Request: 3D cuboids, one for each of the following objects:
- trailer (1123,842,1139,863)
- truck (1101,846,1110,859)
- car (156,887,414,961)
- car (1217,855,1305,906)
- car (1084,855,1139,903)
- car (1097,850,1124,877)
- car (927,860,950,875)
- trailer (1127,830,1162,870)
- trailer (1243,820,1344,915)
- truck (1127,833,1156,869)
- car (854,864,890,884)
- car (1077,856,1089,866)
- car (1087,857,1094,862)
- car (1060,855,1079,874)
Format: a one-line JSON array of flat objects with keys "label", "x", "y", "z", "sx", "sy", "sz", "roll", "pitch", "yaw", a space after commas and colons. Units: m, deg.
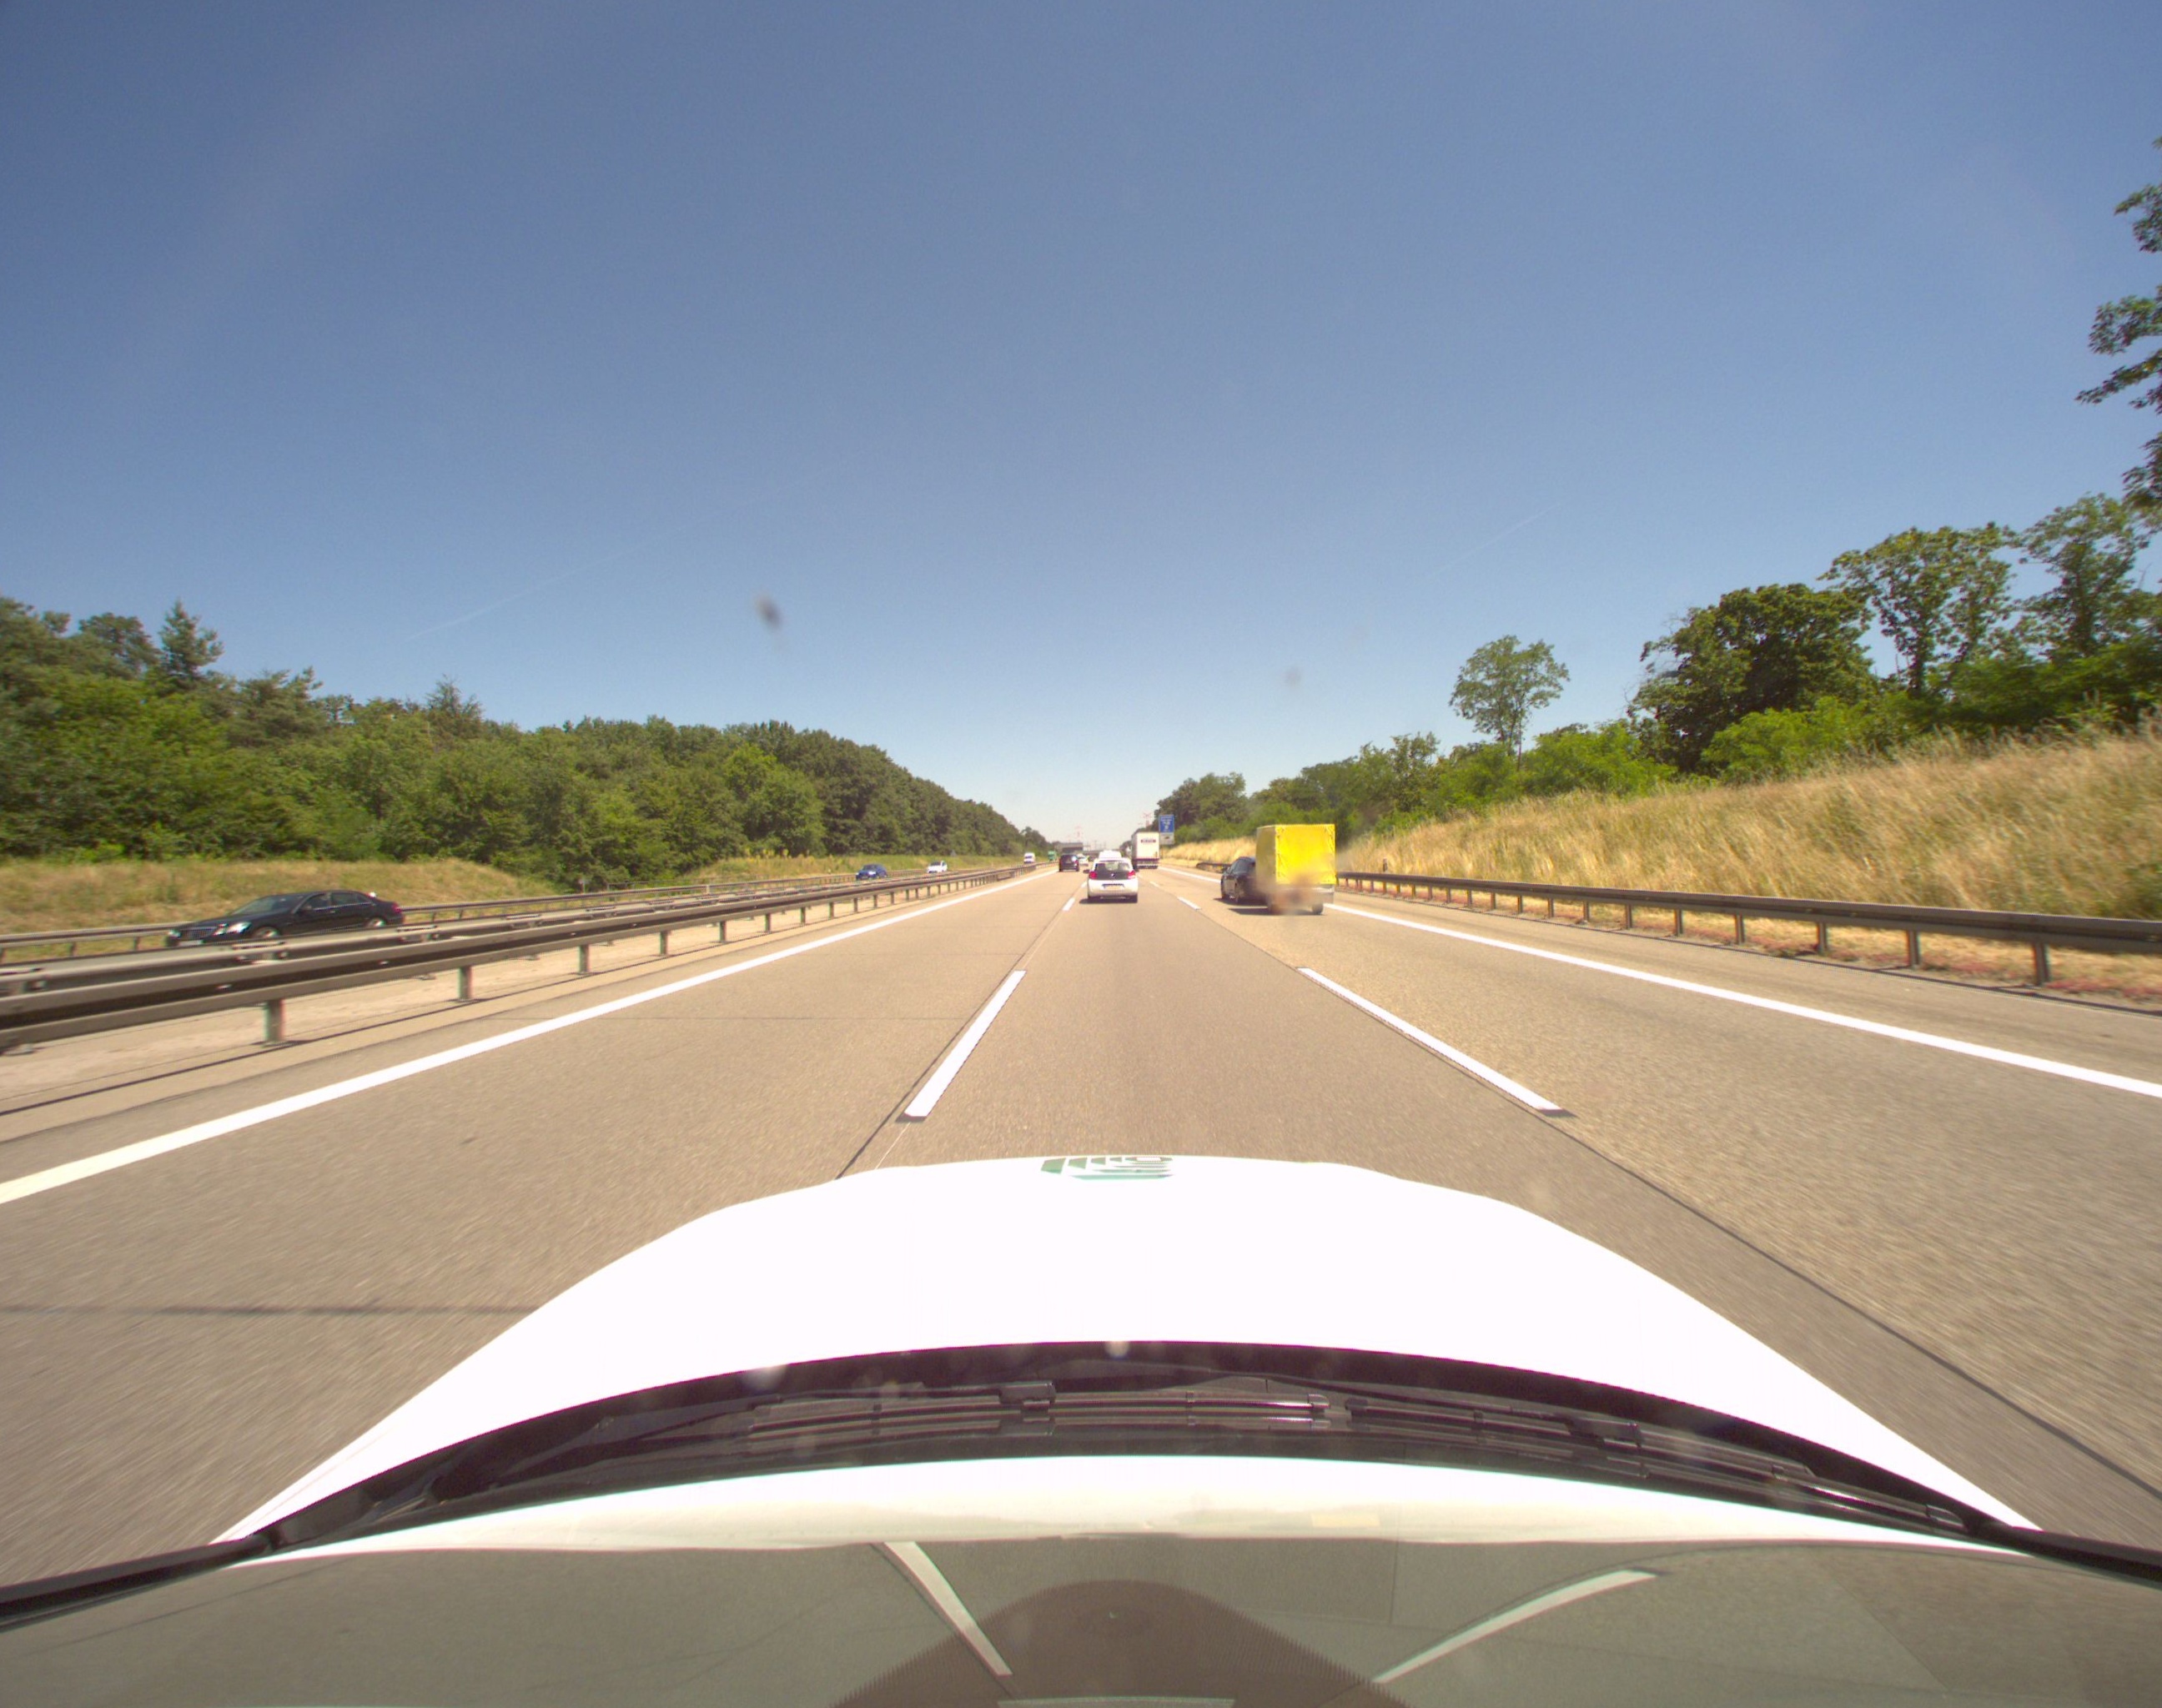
[{"label": "trailer", "x": 9.566, "y": -0.213, "z": 156.497, "sx": 2.673, "sy": 3.837, "sz": 12.012, "roll": 0, "pitch": 0, "yaw": 1}, {"label": "truck", "x": 5.330, "y": -0.296, "z": 177.991, "sx": 2.053, "sy": 2.914, "sz": 7.004, "roll": -1, "pitch": 0, "yaw": 1}, {"label": "car", "x": -20.173, "y": 1.688, "z": 21.024, "sx": 1.669, "sy": 1.365, "sz": 4.891, "roll": -4, "pitch": 0, "yaw": 2}, {"label": "car", "x": 5.612, "y": 0.766, "z": 25.996, "sx": 1.815, "sy": 1.456, "sz": 4.788, "roll": 0, "pitch": 0, "yaw": 1}, {"label": "car", "x": 1.012, "y": 0.783, "z": 27.347, "sx": 1.702, "sy": 1.495, "sz": 4.025, "roll": -1, "pitch": 0, "yaw": 2}, {"label": "car", "x": 2.045, "y": 0.668, "z": 58.105, "sx": 1.808, "sy": 1.827, "sz": 5.111, "roll": -1, "pitch": 0, "yaw": 1}, {"label": "car", "x": -17.511, "y": 1.630, "z": 100.220, "sx": 1.696, "sy": 1.661, "sz": 5.118, "roll": -4, "pitch": 0, "yaw": 2}, {"label": "trailer", "x": 7.203, "y": -0.353, "z": 93.774, "sx": 3.274, "sy": 4.219, "sz": 13.568, "roll": 0, "pitch": 0, "yaw": 1}, {"label": "trailer", "x": 5.549, "y": 0.326, "z": 21.724, "sx": 1.697, "sy": 2.289, "sz": 3.840, "roll": 0, "pitch": 0, "yaw": 1}, {"label": "truck", "x": 7.360, "y": -0.339, "z": 100.546, "sx": 3.274, "sy": 4.219, "sz": 6.009, "roll": 0, "pitch": -1, "yaw": 1}, {"label": "car", "x": -18.147, "y": 1.726, "z": 70.838, "sx": 1.696, "sy": 1.545, "sz": 4.537, "roll": -4, "pitch": 0, "yaw": 1}, {"label": "car", "x": 0.343, "y": 0.966, "z": 118.057, "sx": 1.663, "sy": 1.401, "sz": 3.713, "roll": -2, "pitch": 0, "yaw": 0}, {"label": "car", "x": 2.456, "y": 1.354, "z": 204.781, "sx": 1.601, "sy": 1.300, "sz": 3.675, "roll": -1, "pitch": 0, "yaw": 2}, {"label": "car", "x": -1.053, "y": 0.997, "z": 78.409, "sx": 1.620, "sy": 1.755, "sz": 3.806, "roll": -1, "pitch": 0, "yaw": 2}]
